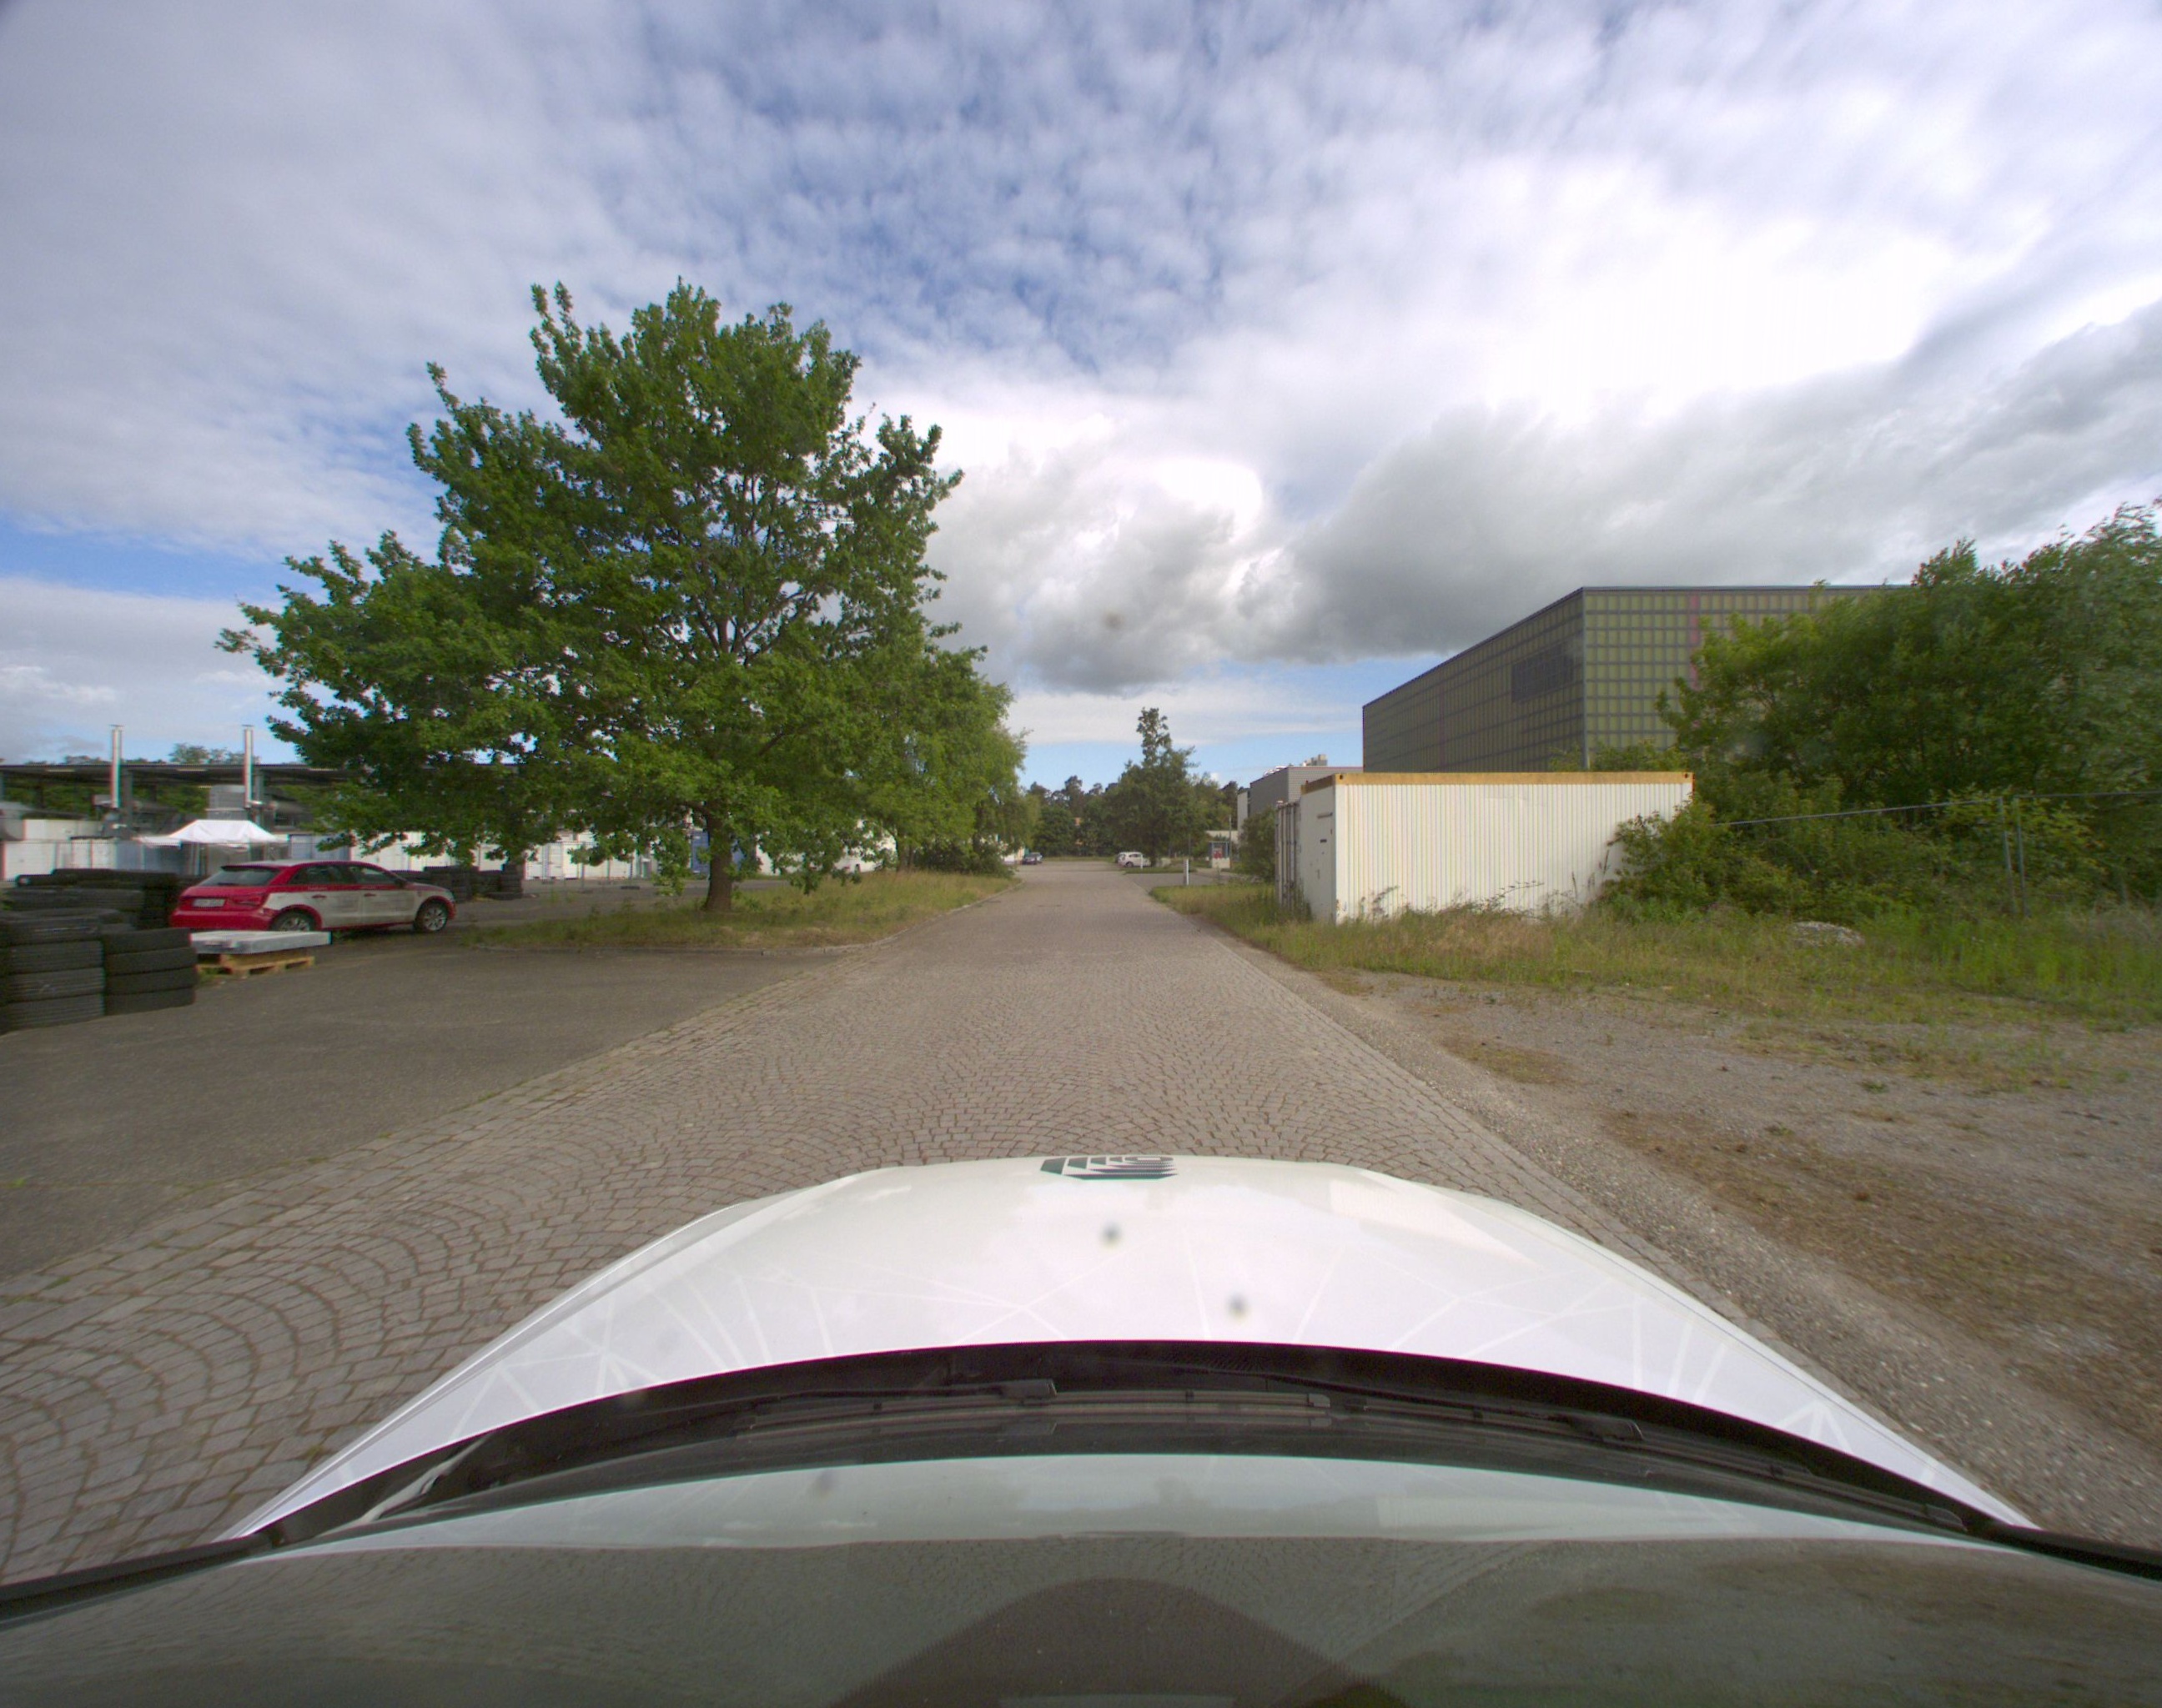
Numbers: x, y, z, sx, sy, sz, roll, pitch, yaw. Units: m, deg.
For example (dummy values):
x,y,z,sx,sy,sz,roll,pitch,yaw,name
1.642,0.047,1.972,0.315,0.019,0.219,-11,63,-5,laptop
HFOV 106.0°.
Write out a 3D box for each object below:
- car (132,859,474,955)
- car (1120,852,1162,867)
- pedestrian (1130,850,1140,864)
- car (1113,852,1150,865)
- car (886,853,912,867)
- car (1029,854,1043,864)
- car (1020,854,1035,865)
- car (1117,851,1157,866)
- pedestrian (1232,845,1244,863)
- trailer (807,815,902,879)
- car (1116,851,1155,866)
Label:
x,y,z,sx,sy,sz,roll,pitch,yaw,name
-13.549,0.830,14.617,1.814,1.431,4.226,0,0,6,car
5.921,0.519,80.526,3.973,1.455,2.000,0,-1,0,car
6.355,0.369,95.671,0.961,1.568,0.946,-1,0,12,pedestrian
5.607,0.483,90.639,3.973,1.455,1.770,-1,0,0,car
-20.392,0.678,91.594,1.893,1.575,4.002,-1,0,2,car
-6.328,0.669,114.711,1.744,1.454,3.997,-1,0,-2,car
-6.894,0.690,104.463,1.744,1.364,3.997,-1,0,-2,car
5.648,0.486,82.695,3.973,1.455,1.697,-1,0,0,car
17.204,0.007,89.223,0.919,2.013,1.144,-1,0,-5,pedestrian
-14.561,-0.430,53.396,2.646,3.705,10.729,-1,0,3,trailer
5.736,0.455,85.735,3.973,1.455,1.770,-1,0,0,car
